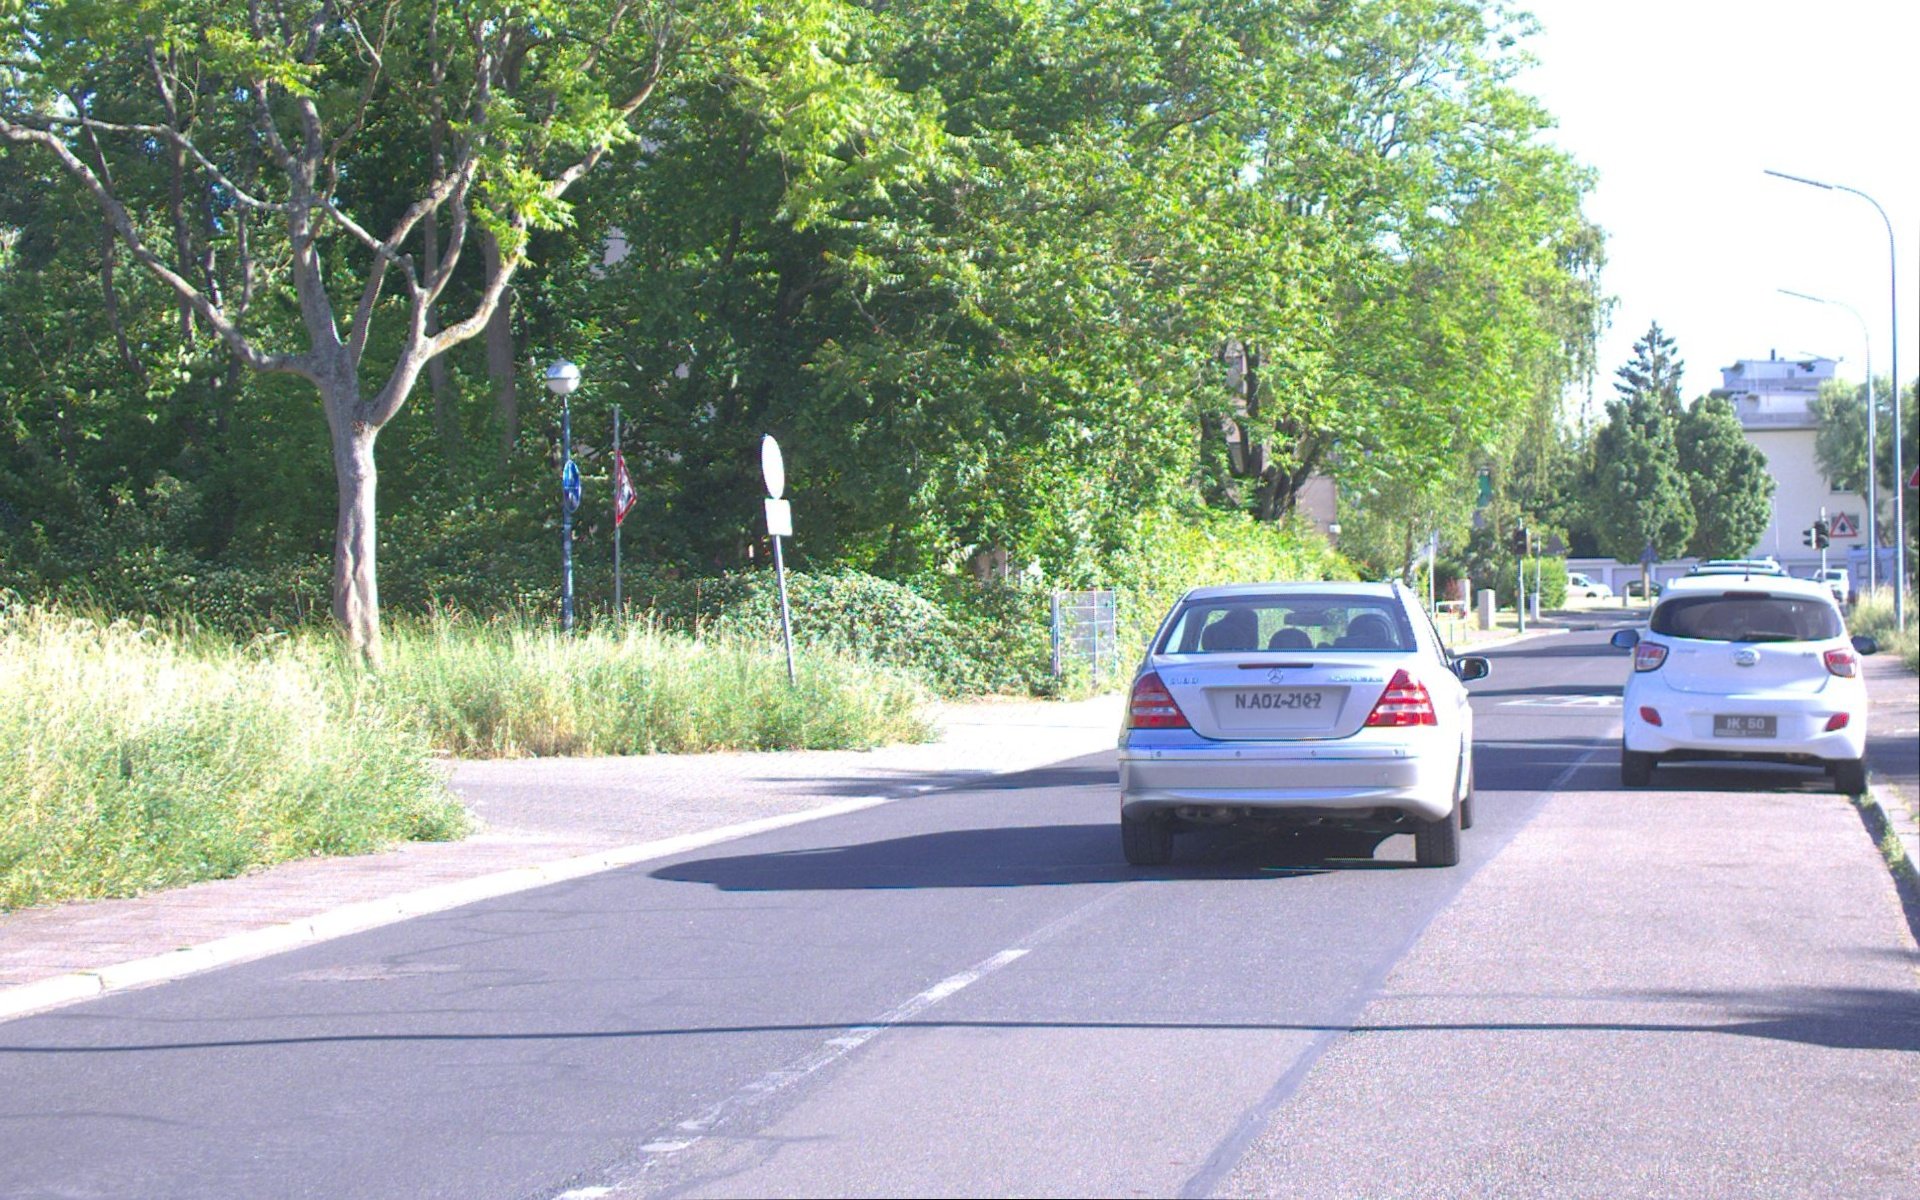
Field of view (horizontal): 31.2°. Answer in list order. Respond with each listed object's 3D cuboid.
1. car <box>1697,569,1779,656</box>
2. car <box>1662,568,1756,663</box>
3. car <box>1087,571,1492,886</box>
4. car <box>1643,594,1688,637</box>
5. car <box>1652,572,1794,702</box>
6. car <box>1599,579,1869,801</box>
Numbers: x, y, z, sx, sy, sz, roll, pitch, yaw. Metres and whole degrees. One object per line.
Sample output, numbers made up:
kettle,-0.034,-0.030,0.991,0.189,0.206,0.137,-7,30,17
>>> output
car,17.277,0.260,76.479,1.699,1.845,3.848,1,1,12
car,14.538,0.278,66.739,1.699,1.753,3.848,1,1,12
car,1.877,0.607,18.363,1.817,1.458,4.359,0,0,10
car,30.814,0.689,150.114,1.886,1.722,3.997,-1,-2,12
car,9.946,0.451,45.031,1.699,1.605,3.998,-1,0,11
car,5.617,0.616,25.295,1.722,1.474,3.739,1,0,10
